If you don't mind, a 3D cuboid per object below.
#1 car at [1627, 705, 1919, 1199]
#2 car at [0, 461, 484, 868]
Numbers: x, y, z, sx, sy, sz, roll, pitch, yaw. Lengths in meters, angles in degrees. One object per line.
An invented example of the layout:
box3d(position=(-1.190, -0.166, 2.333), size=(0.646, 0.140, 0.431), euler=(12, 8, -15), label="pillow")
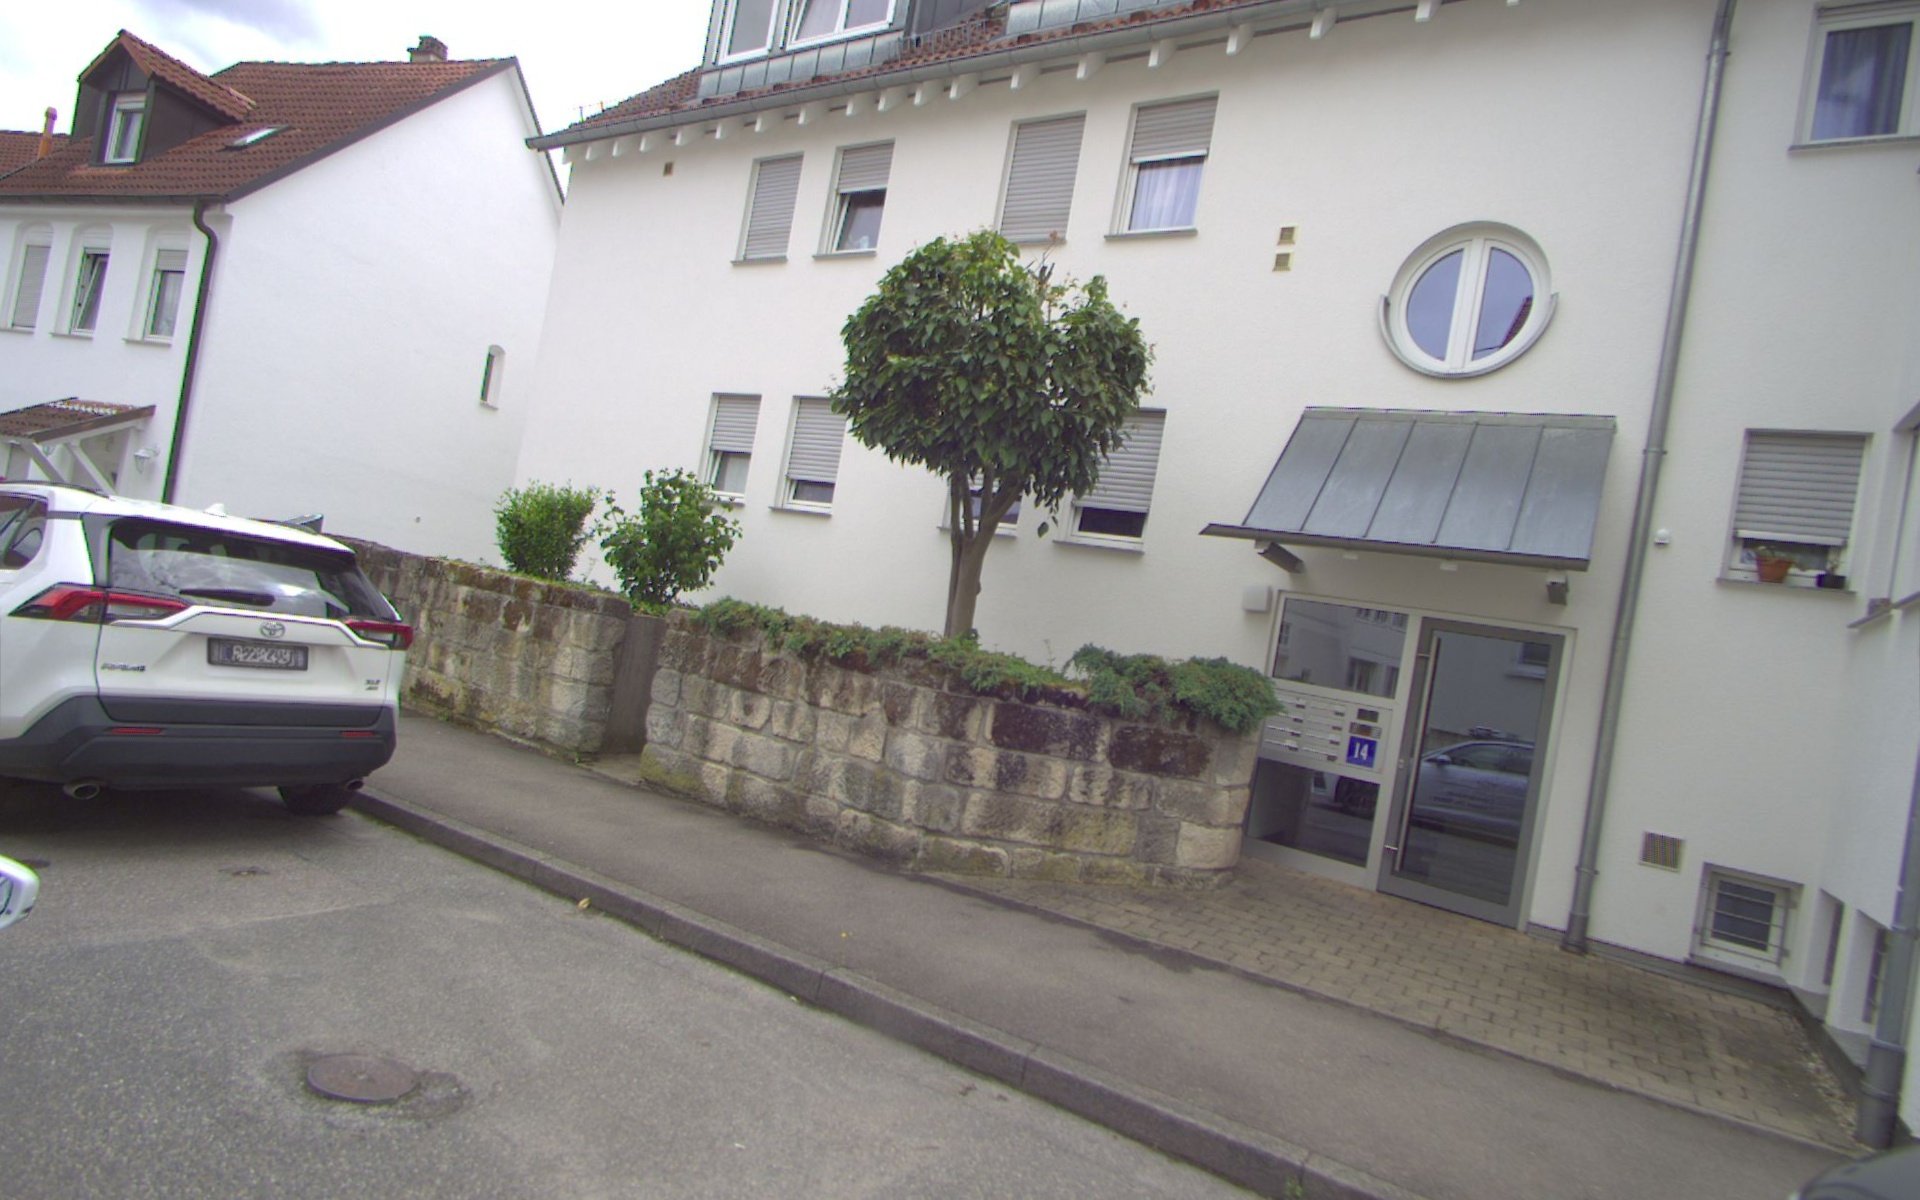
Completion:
box3d(position=(2.914, 1.213, 0.765), size=(3.843, 1.580, 1.741), euler=(7, -4, 31), label="car")
box3d(position=(-5.216, 0.173, 6.068), size=(4.386, 1.657, 1.952), euler=(7, -4, 31), label="car")
